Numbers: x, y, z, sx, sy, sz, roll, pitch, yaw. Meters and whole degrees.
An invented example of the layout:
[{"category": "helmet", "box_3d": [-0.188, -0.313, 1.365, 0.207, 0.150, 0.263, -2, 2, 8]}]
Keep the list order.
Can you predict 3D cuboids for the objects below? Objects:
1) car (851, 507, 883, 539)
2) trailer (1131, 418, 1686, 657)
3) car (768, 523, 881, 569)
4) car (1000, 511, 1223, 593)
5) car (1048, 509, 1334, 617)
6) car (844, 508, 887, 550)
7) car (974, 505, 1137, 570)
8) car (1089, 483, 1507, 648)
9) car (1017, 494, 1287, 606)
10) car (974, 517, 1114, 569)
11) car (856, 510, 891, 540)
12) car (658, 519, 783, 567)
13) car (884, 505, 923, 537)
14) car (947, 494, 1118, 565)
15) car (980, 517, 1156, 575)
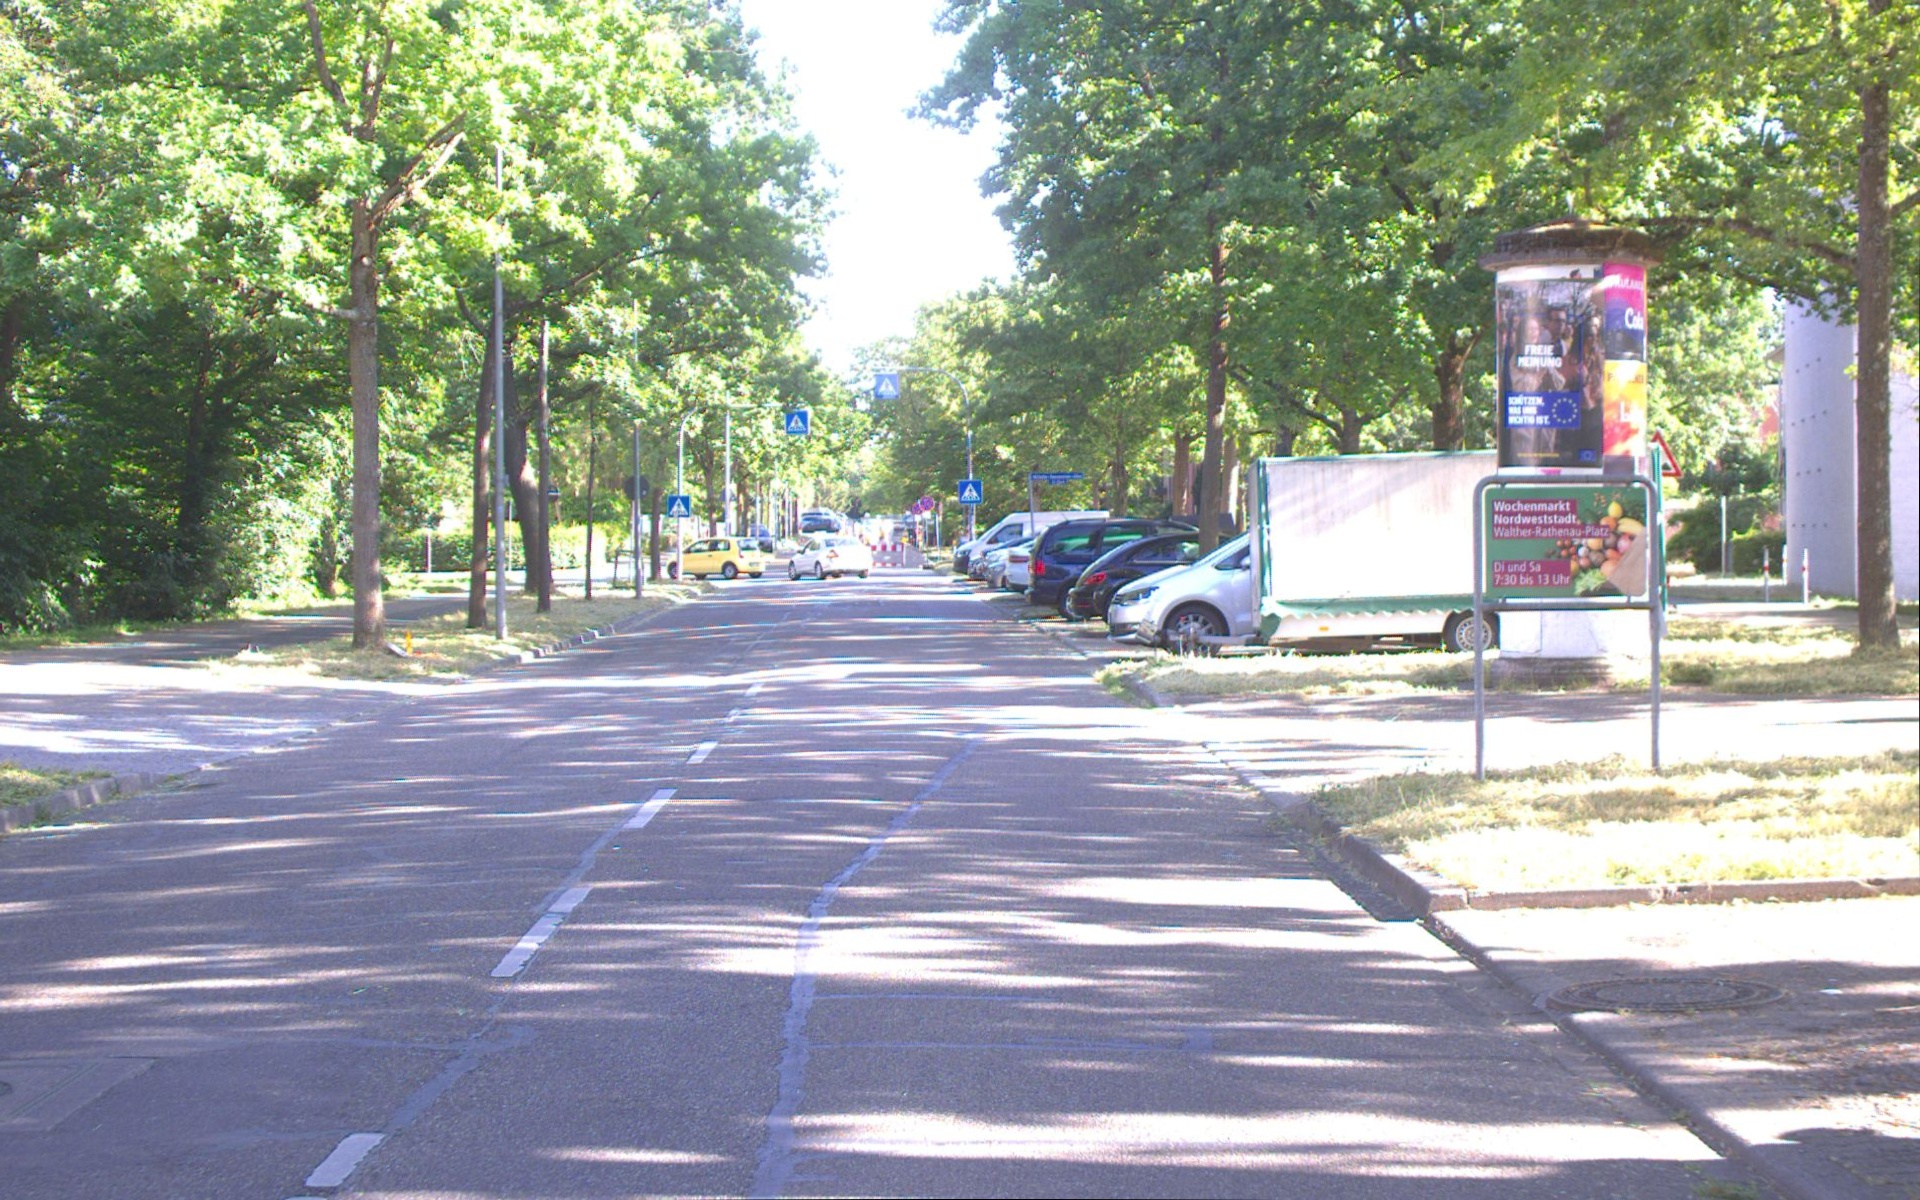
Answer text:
[{"category": "car", "box_3d": [-5.794, -4.807, 213.455, 1.993, 1.962, 4.001, 0, 1, -2]}, {"category": "trailer", "box_3d": [4.826, -0.686, 37.529, 5.775, 2.309, 1.686, -2, 1, 1]}, {"category": "car", "box_3d": [-4.489, -1.775, 113.239, 1.993, 1.479, 4.000, -1, 1, -32]}, {"category": "car", "box_3d": [3.240, -1.044, 74.166, 4.670, 1.575, 1.917, -2, 2, -1]}, {"category": "car", "box_3d": [3.539, -0.582, 53.235, 4.245, 1.513, 2.078, -2, 1, 0]}, {"category": "car", "box_3d": [-4.498, -3.378, 163.180, 1.993, 1.926, 4.001, 0, 1, -2]}, {"category": "car", "box_3d": [2.674, -1.775, 96.955, 4.384, 1.645, 1.851, -2, 2, -3]}, {"category": "car", "box_3d": [3.909, -0.416, 40.355, 4.642, 1.716, 1.988, -2, 1, 0]}, {"category": "car", "box_3d": [3.309, -0.879, 59.875, 4.529, 1.795, 1.936, -2, 1, -1]}, {"category": "car", "box_3d": [2.408, -1.662, 99.490, 3.987, 1.428, 1.901, -1, 1, 0]}, {"category": "car", "box_3d": [-5.055, -4.357, 199.652, 1.993, 1.710, 4.001, 0, 1, -2]}, {"category": "car", "box_3d": [-8.413, -1.985, 120.636, 3.994, 1.650, 1.996, 0, 1, 33]}, {"category": "car", "box_3d": [-3.019, -4.225, 183.928, 1.993, 1.710, 4.001, 0, 1, -2]}, {"category": "car", "box_3d": [2.246, -2.211, 107.254, 5.186, 2.098, 2.083, -1, 1, -3]}, {"category": "car", "box_3d": [2.793, -1.420, 89.355, 4.445, 1.385, 1.911, -1, 2, -1]}]
